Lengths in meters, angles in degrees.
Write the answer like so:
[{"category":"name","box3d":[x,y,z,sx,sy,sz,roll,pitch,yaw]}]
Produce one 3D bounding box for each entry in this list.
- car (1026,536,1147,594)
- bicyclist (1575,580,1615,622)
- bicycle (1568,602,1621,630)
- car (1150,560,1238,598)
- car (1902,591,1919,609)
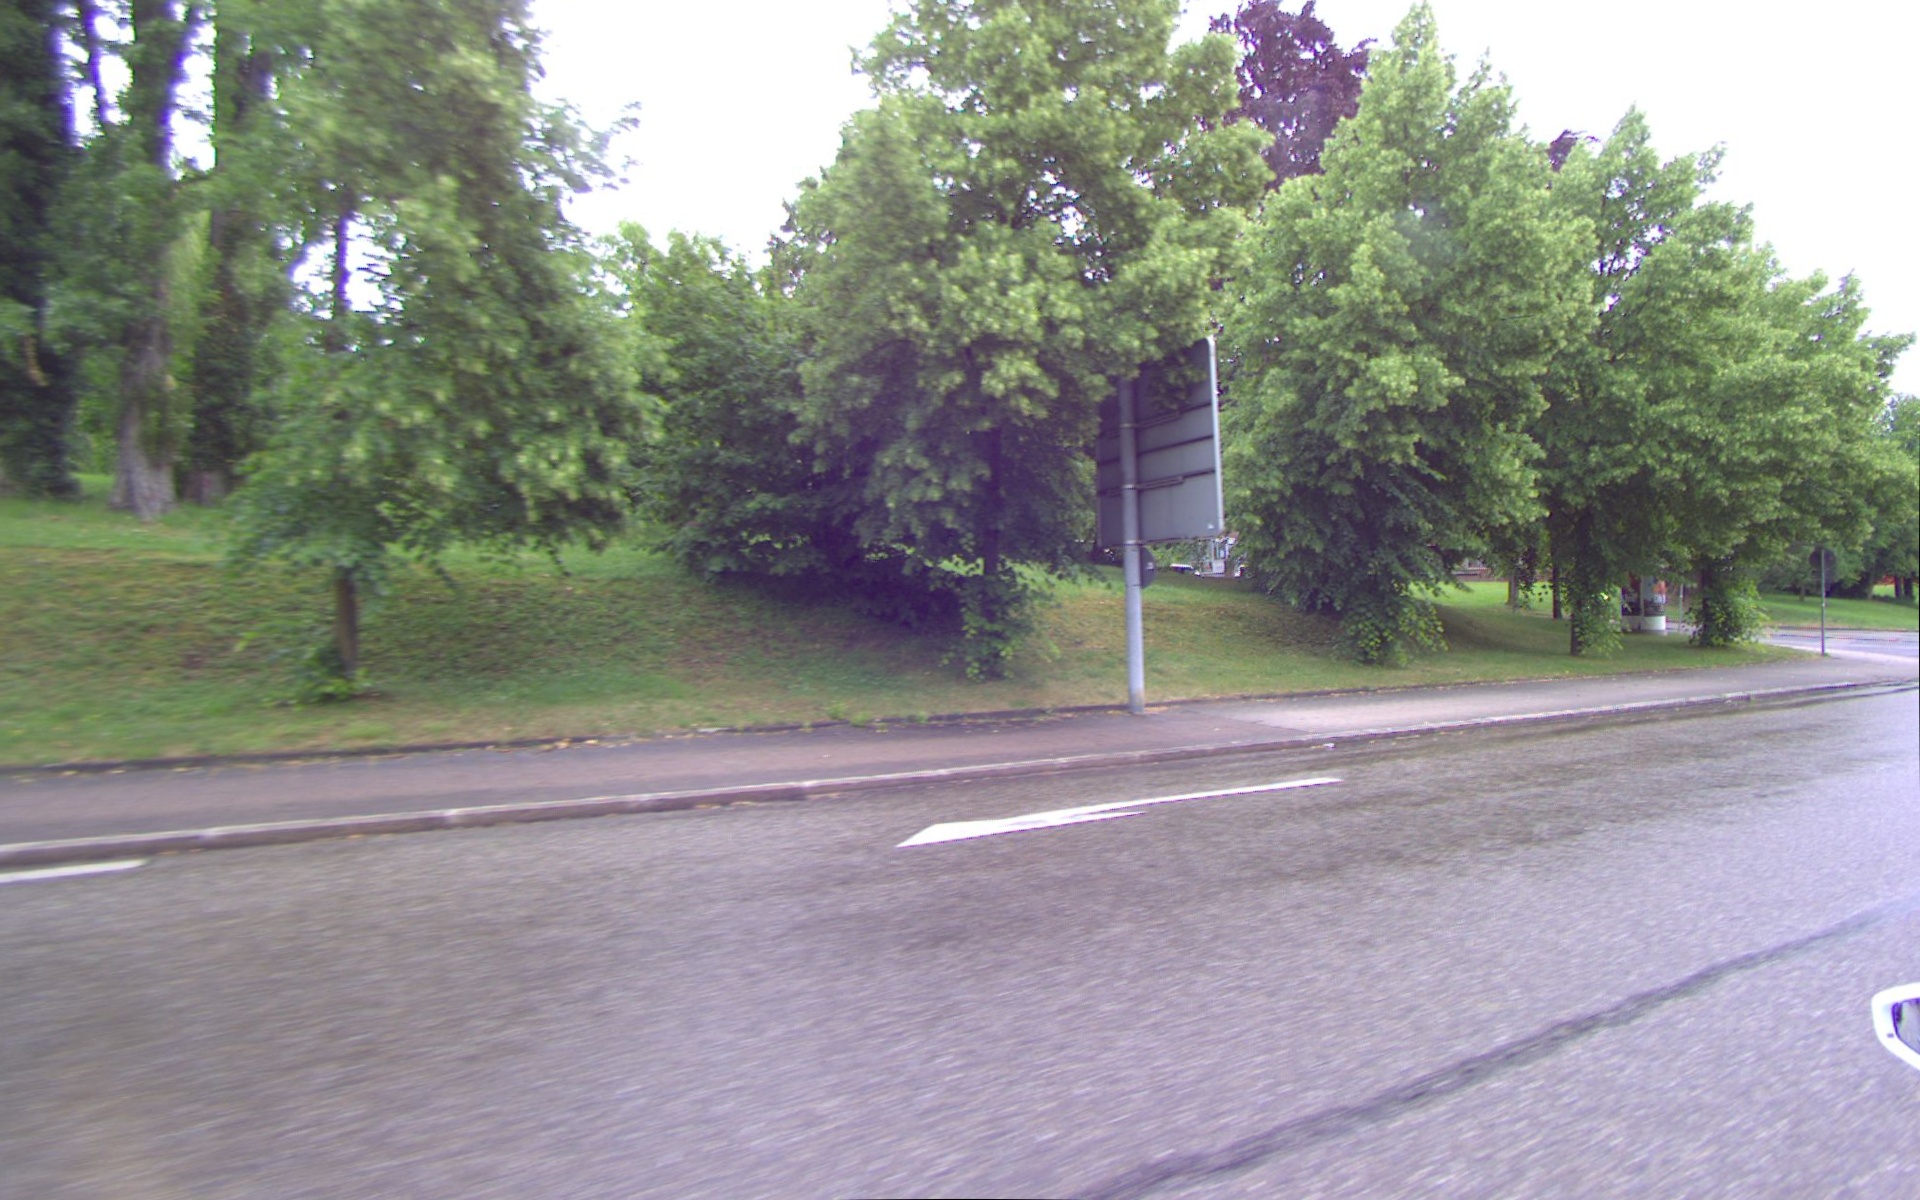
[{"category":"car","box3d":[6.269,-1.746,49.774,5.560,2.736,2.157,2,1,22]},{"category":"bicyclist","box3d":[27.391,0.054,43.345,0.839,1.778,1.284,2,-1,-7]},{"category":"bicycle","box3d":[27.366,0.687,43.367,0.839,1.170,2.035,2,-1,-7]},{"category":"car","box3d":[11.197,-0.980,47.974,3.920,1.690,1.978,2,1,17]},{"category":"car","box3d":[87.185,0.022,90.032,3.852,1.506,1.925,1,0,42]}]
